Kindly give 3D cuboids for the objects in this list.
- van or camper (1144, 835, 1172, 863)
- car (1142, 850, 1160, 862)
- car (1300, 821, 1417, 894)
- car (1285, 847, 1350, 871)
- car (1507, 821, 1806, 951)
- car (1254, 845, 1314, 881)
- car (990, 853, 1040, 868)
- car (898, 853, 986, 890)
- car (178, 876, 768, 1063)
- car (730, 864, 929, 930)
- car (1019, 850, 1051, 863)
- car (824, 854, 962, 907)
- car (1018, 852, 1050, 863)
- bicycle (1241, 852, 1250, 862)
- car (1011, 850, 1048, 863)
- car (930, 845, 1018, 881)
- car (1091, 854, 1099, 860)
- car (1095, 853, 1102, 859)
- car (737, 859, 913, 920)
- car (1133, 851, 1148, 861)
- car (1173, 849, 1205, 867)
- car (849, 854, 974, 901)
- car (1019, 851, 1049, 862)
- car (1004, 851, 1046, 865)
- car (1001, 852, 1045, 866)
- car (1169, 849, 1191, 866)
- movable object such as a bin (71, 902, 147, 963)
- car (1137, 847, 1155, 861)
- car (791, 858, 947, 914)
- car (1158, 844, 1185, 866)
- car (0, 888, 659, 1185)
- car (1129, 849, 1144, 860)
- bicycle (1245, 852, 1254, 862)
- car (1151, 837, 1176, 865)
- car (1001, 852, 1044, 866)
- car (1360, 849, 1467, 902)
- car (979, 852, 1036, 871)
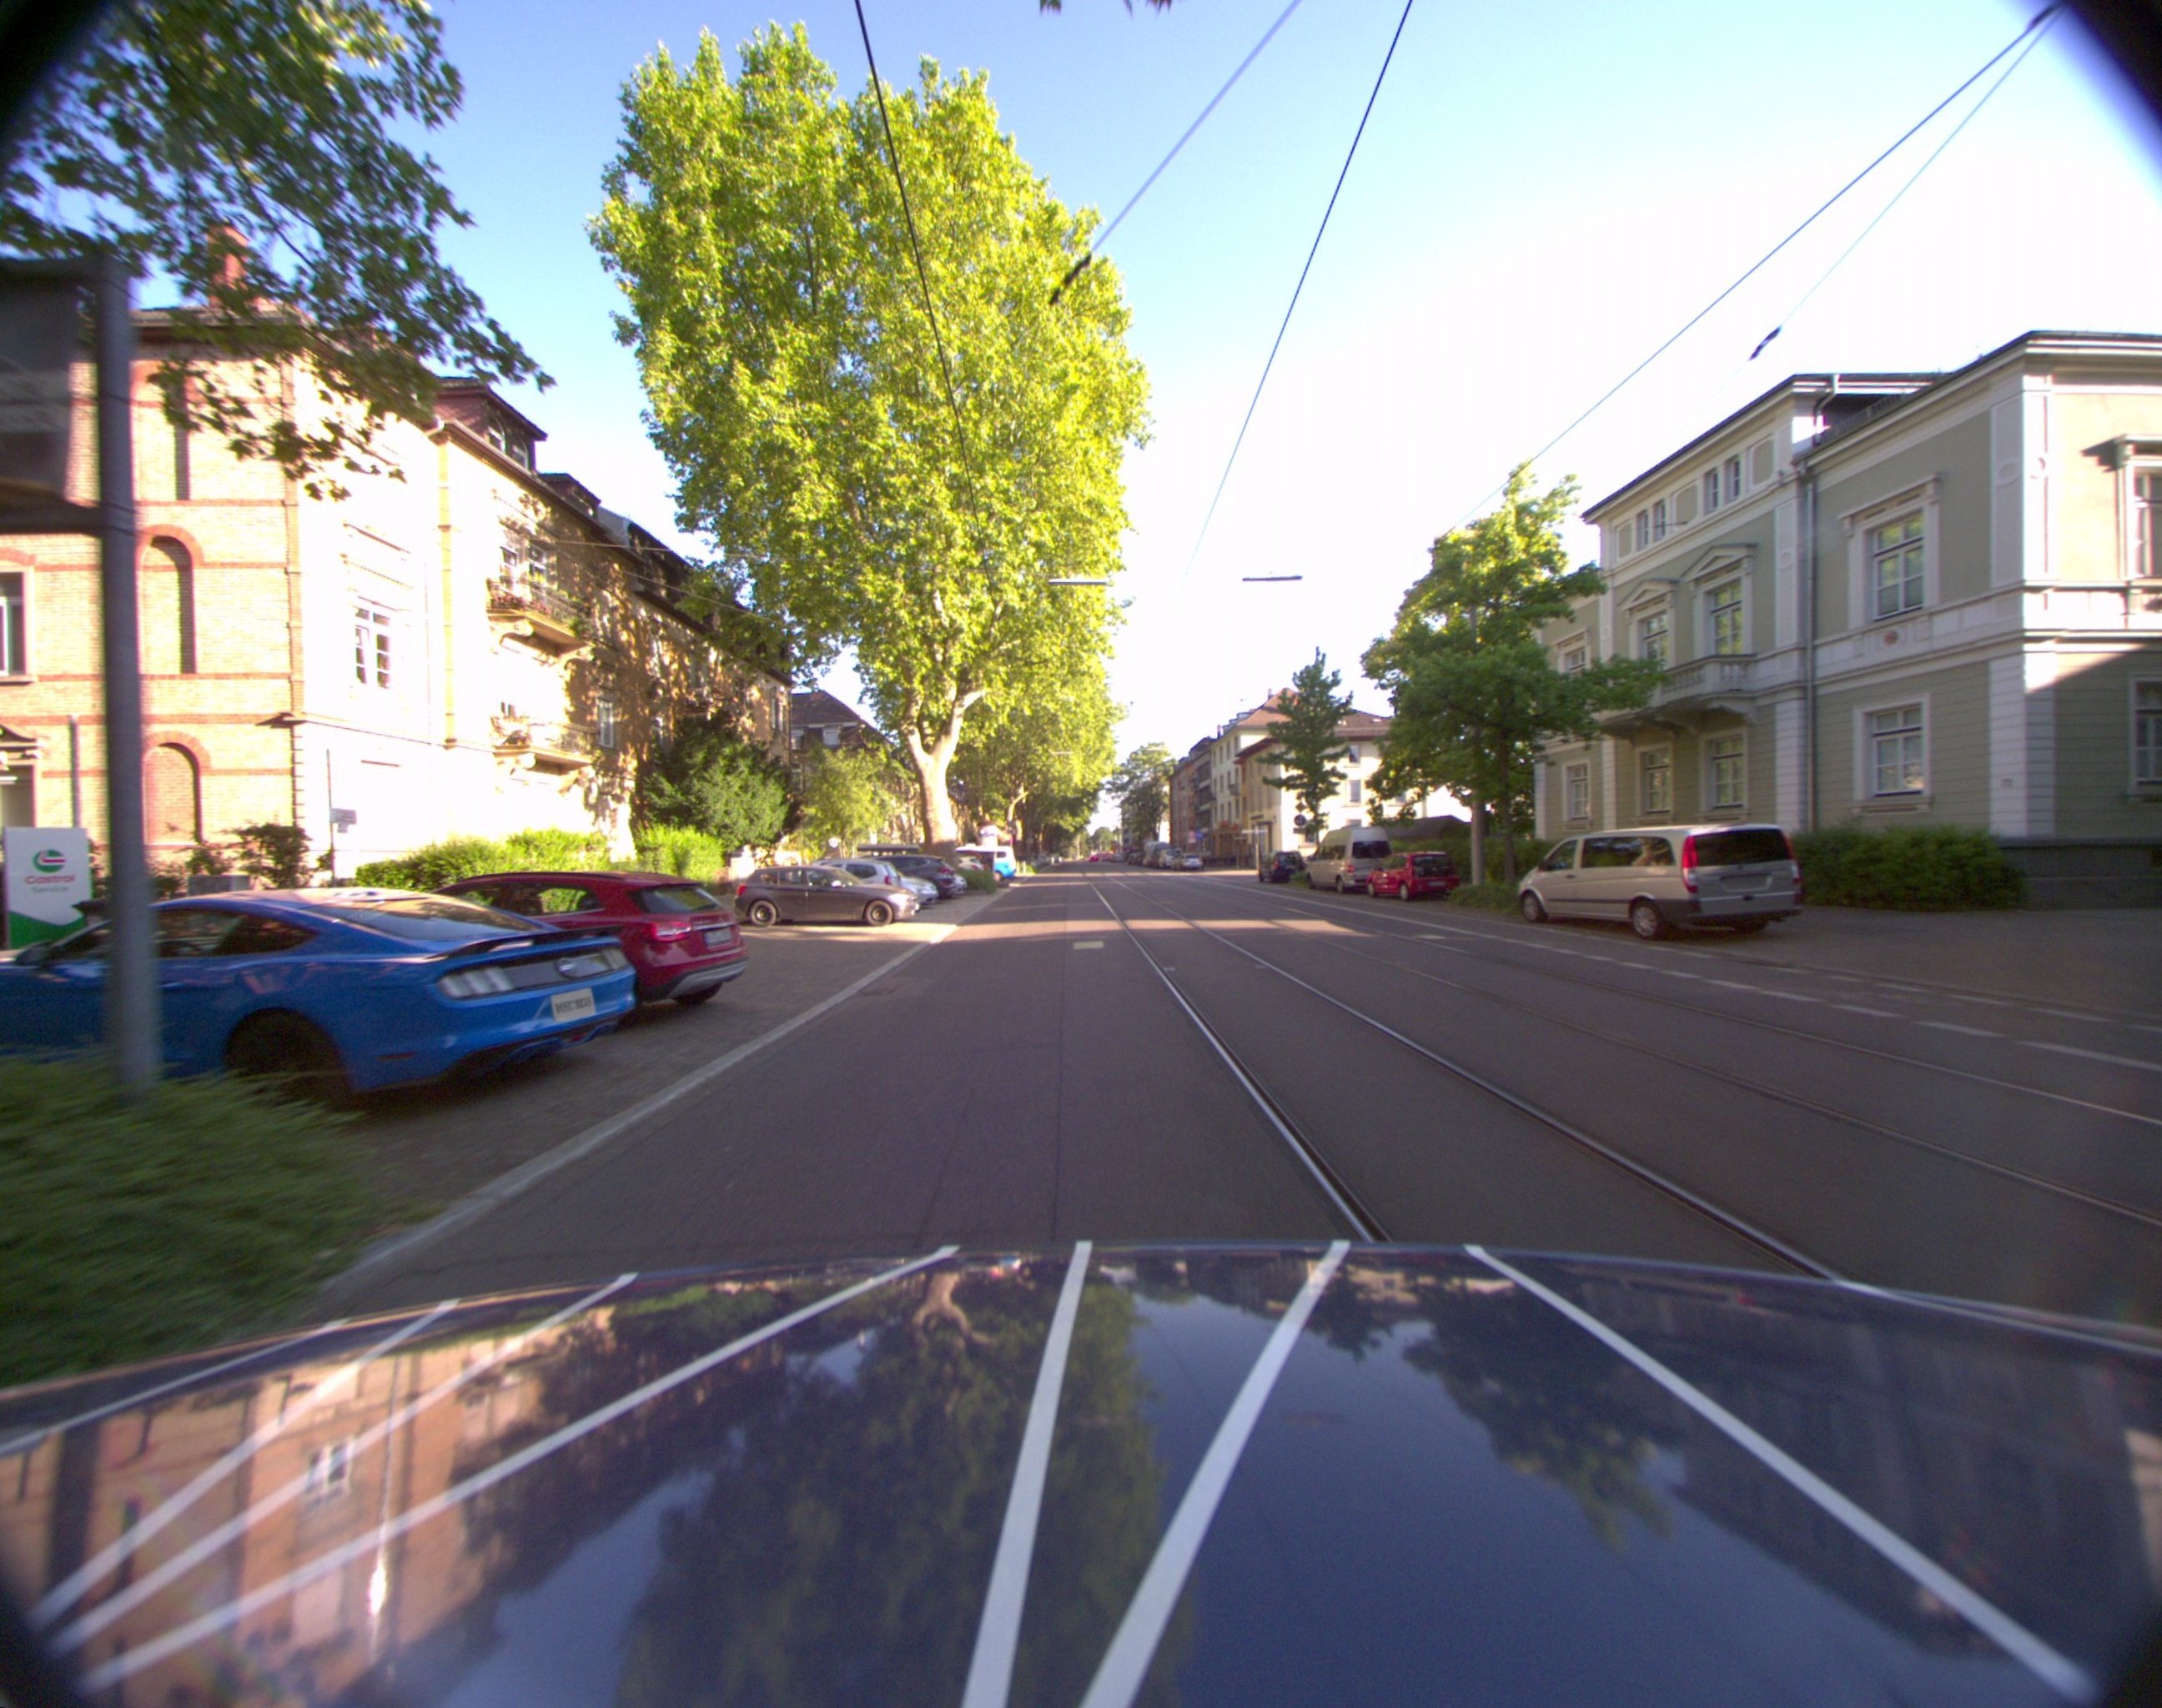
[{"bbox_3d":[8.948,-0.609,89.021,2.423,2.960,5.990,-5,0,0],"label":"van or camper"},{"bbox_3d":[8.811,0.251,95.397,1.791,1.506,3.472,-2,0,-2],"label":"car"},{"bbox_3d":[10.440,0.110,29.123,2.310,2.493,5.342,-1,0,-2],"label":"car"},{"bbox_3d":[16.966,0.347,54.657,4.071,1.608,1.966,-1,1,3],"label":"car"},{"bbox_3d":[10.336,0.483,14.280,1.848,1.977,4.987,-1,0,0],"label":"car"},{"bbox_3d":[10.191,0.438,38.428,1.997,1.680,4.261,-1,0,2],"label":"car"},{"bbox_3d":[-6.437,0.652,74.525,4.611,1.485,1.893,0,0,2],"label":"car"},{"bbox_3d":[-6.328,0.785,34.923,3.792,1.609,1.790,0,0,-3],"label":"car"},{"bbox_3d":[-5.798,1.056,7.698,4.414,1.534,1.952,-1,1,1],"label":"car"},{"bbox_3d":[-5.998,1.007,18.477,4.211,1.439,1.817,-1,1,-1],"label":"car"},{"bbox_3d":[-6.840,0.381,114.317,4.611,1.781,1.893,0,0,2],"label":"car"},{"bbox_3d":[-6.239,0.861,25.645,4.212,1.609,1.878,-1,1,-4],"label":"car"},{"bbox_3d":[-6.884,0.491,112.177,4.611,1.631,1.893,0,0,2],"label":"car"},{"bbox_3d":[15.055,0.255,69.536,0.362,0.923,1.647,-1,0,-1],"label":"bicycle"},{"bbox_3d":[-6.655,0.387,97.931,4.611,1.631,1.893,0,0,2],"label":"car"},{"bbox_3d":[-6.070,0.512,43.645,4.860,2.002,2.193,0,0,-4],"label":"car"},{"bbox_3d":[3.342,0.827,186.342,1.769,1.448,3.585,-1,0,-1],"label":"car"},{"bbox_3d":[4.890,0.500,209.763,1.769,1.448,3.585,-1,0,-1],"label":"car"},{"bbox_3d":[-7.014,0.954,21.123,4.210,1.546,1.817,-1,1,1],"label":"car"},{"bbox_3d":[8.672,0.278,111.003,1.791,1.462,4.434,-2,0,-2],"label":"car"},{"bbox_3d":[9.302,0.322,65.710,1.776,1.484,4.939,-2,0,-4],"label":"car"},{"bbox_3d":[-6.246,0.837,28.301,4.210,1.609,1.817,-1,1,1],"label":"car"},{"bbox_3d":[-7.581,0.377,122.161,4.611,1.705,1.893,0,0,2],"label":"car"},{"bbox_3d":[-6.456,0.486,87.590,4.611,1.631,1.893,0,0,2],"label":"car"},{"bbox_3d":[-6.298,0.592,82.905,4.611,1.485,1.893,0,0,2],"label":"car"},{"bbox_3d":[9.188,0.348,70.446,1.575,1.484,2.882,-2,0,0],"label":"car"},{"bbox_3d":[-15.983,1.285,12.500,0.658,0.935,0.447,-1,2,4],"label":"movable object such as a bin"},{"bbox_3d":[8.616,0.016,100.857,1.791,1.744,4.434,-2,0,-2],"label":"car"},{"bbox_3d":[-6.415,0.945,23.285,4.210,1.565,1.817,-1,1,1],"label":"car"},{"bbox_3d":[9.024,0.105,76.200,1.928,2.034,4.940,-2,0,-2],"label":"car"},{"bbox_3d":[-5.618,1.073,5.282,4.412,1.534,1.818,-1,1,6],"label":"car"},{"bbox_3d":[8.470,0.081,115.900,1.791,1.660,4.434,-2,0,-2],"label":"car"},{"bbox_3d":[15.056,0.271,67.855,0.362,0.923,1.647,-1,0,-1],"label":"bicycle"},{"bbox_3d":[8.887,-0.321,82.266,1.928,2.730,4.545,-5,1,0],"label":"car"},{"bbox_3d":[-6.596,0.538,85.637,4.611,1.557,1.893,0,0,2],"label":"car"},{"bbox_3d":[10.476,0.612,24.235,1.689,1.530,3.707,-1,0,-1],"label":"car"},{"bbox_3d":[-6.480,0.635,67.211,4.811,1.621,1.893,0,0,-1],"label":"car"}]
